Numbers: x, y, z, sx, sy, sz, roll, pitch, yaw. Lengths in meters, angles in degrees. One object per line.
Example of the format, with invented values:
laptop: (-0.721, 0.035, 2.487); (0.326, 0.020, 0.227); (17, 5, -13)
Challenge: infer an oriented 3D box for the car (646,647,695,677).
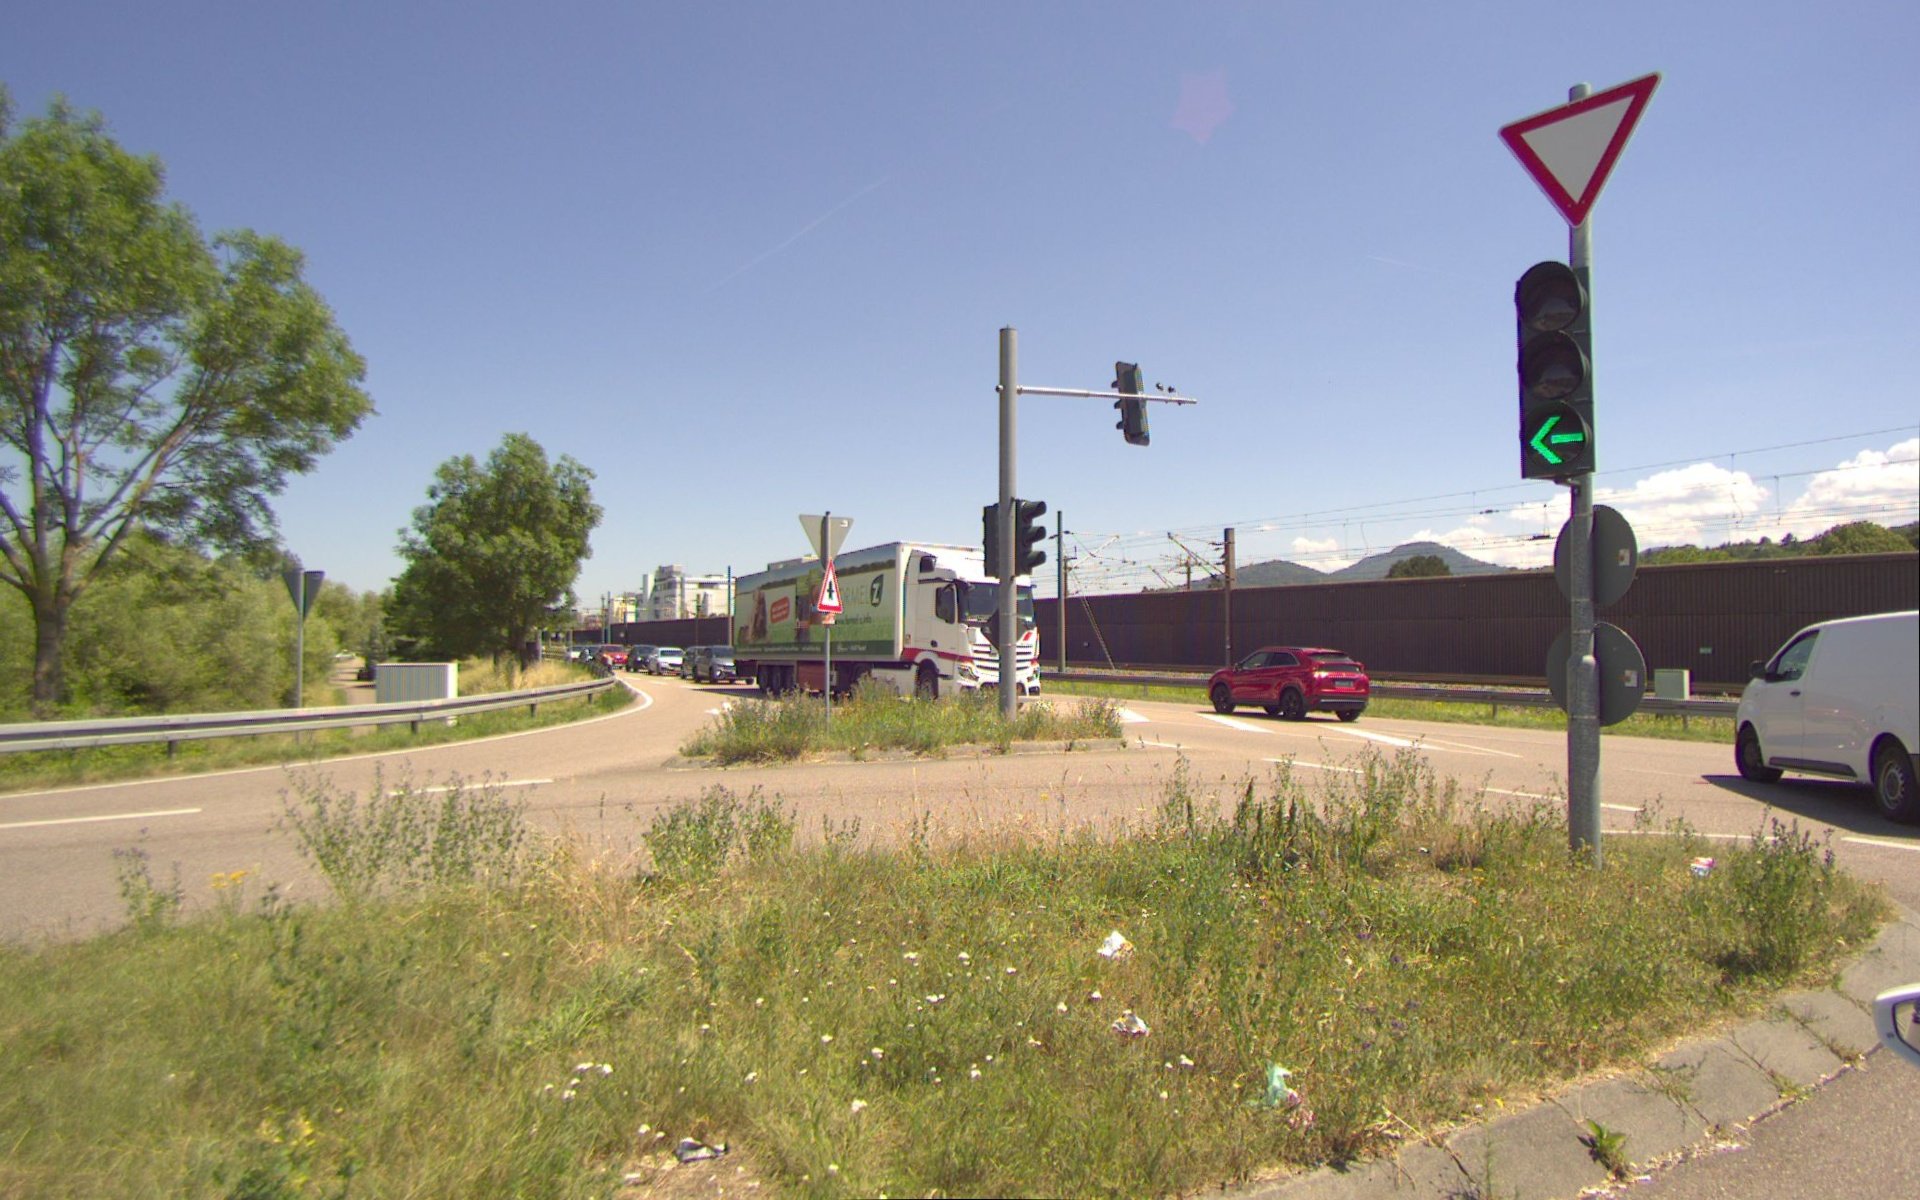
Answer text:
car: (-15.658, 3.334, 54.193); (1.638, 1.498, 4.597); (3, -3, -28)

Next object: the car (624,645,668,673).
car: (-18.890, 3.520, 60.320); (1.701, 1.610, 4.502); (3, -3, -28)

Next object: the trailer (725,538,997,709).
trailer: (-3.755, 0.900, 30.882); (2.667, 4.097, 14.013); (3, -4, -30)

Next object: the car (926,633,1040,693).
car: (0.750, 2.284, 37.075); (1.991, 2.048, 4.744); (3, -3, -30)

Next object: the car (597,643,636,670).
car: (-22.880, 3.753, 66.842); (1.740, 1.653, 4.248); (3, -3, -28)

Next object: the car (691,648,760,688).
car: (-9.928, 2.838, 42.293); (1.697, 1.582, 4.123); (2, -3, -29)

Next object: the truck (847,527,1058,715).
truck: (-0.361, 0.623, 25.045); (2.667, 4.097, 5.779); (3, -4, -30)

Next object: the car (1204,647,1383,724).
car: (7.843, 1.988, 24.038); (1.884, 1.671, 4.122); (3, -3, -21)

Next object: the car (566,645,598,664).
car: (-30.151, 4.317, 80.031); (1.671, 1.478, 4.581); (3, -4, -29)

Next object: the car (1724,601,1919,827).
car: (9.700, 1.097, 10.059); (1.914, 1.906, 4.882); (1, -3, 20)
